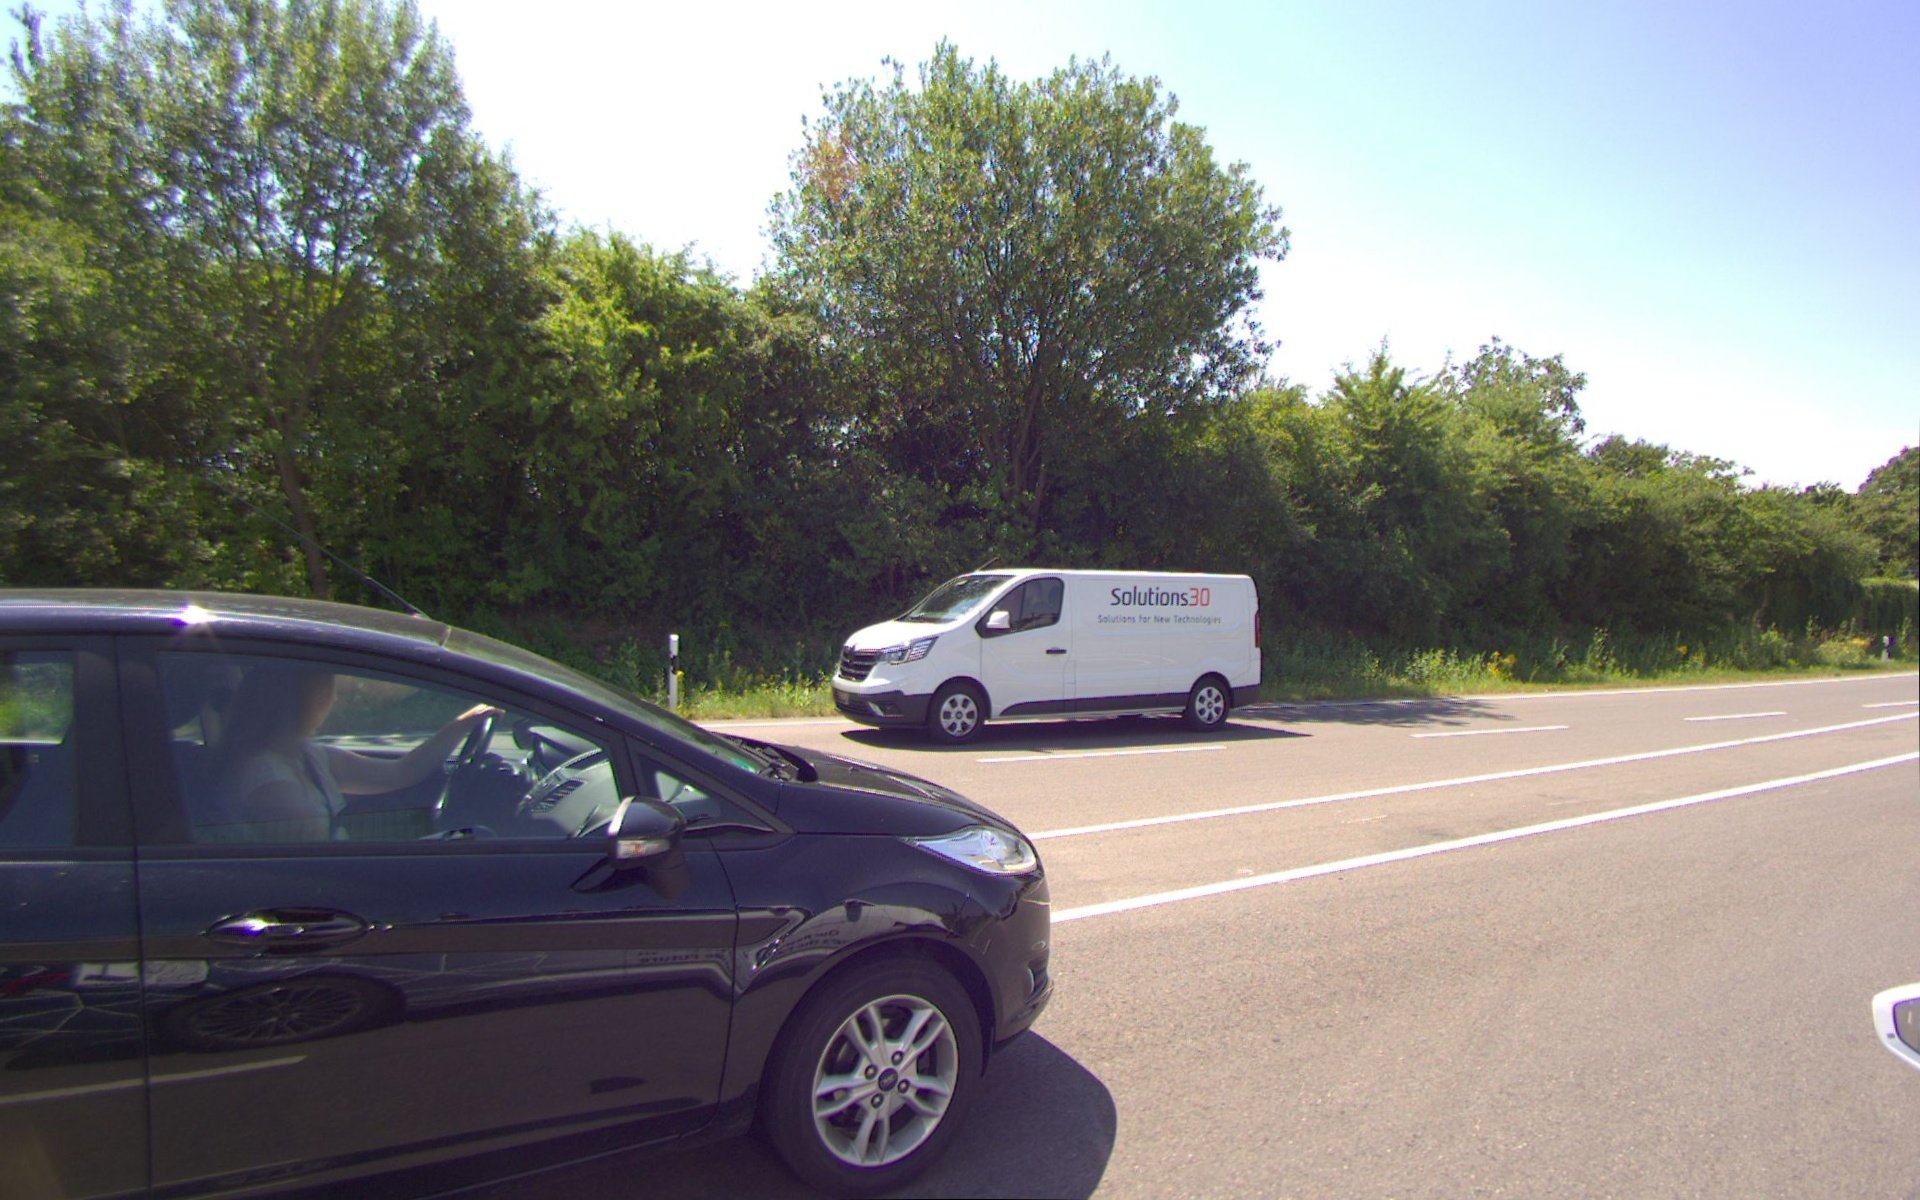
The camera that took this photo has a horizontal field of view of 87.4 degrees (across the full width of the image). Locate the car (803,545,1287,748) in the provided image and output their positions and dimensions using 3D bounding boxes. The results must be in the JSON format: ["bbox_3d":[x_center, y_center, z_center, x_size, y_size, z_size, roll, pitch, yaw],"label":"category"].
[{"bbox_3d":[1.155,0.493,12.368,5.734,2.041,2.067,1,1,-28],"label":"car"}]

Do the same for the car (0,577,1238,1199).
[{"bbox_3d":[-1.403,0.715,2.622,4.156,1.514,1.645,0,1,-30],"label":"car"}]
